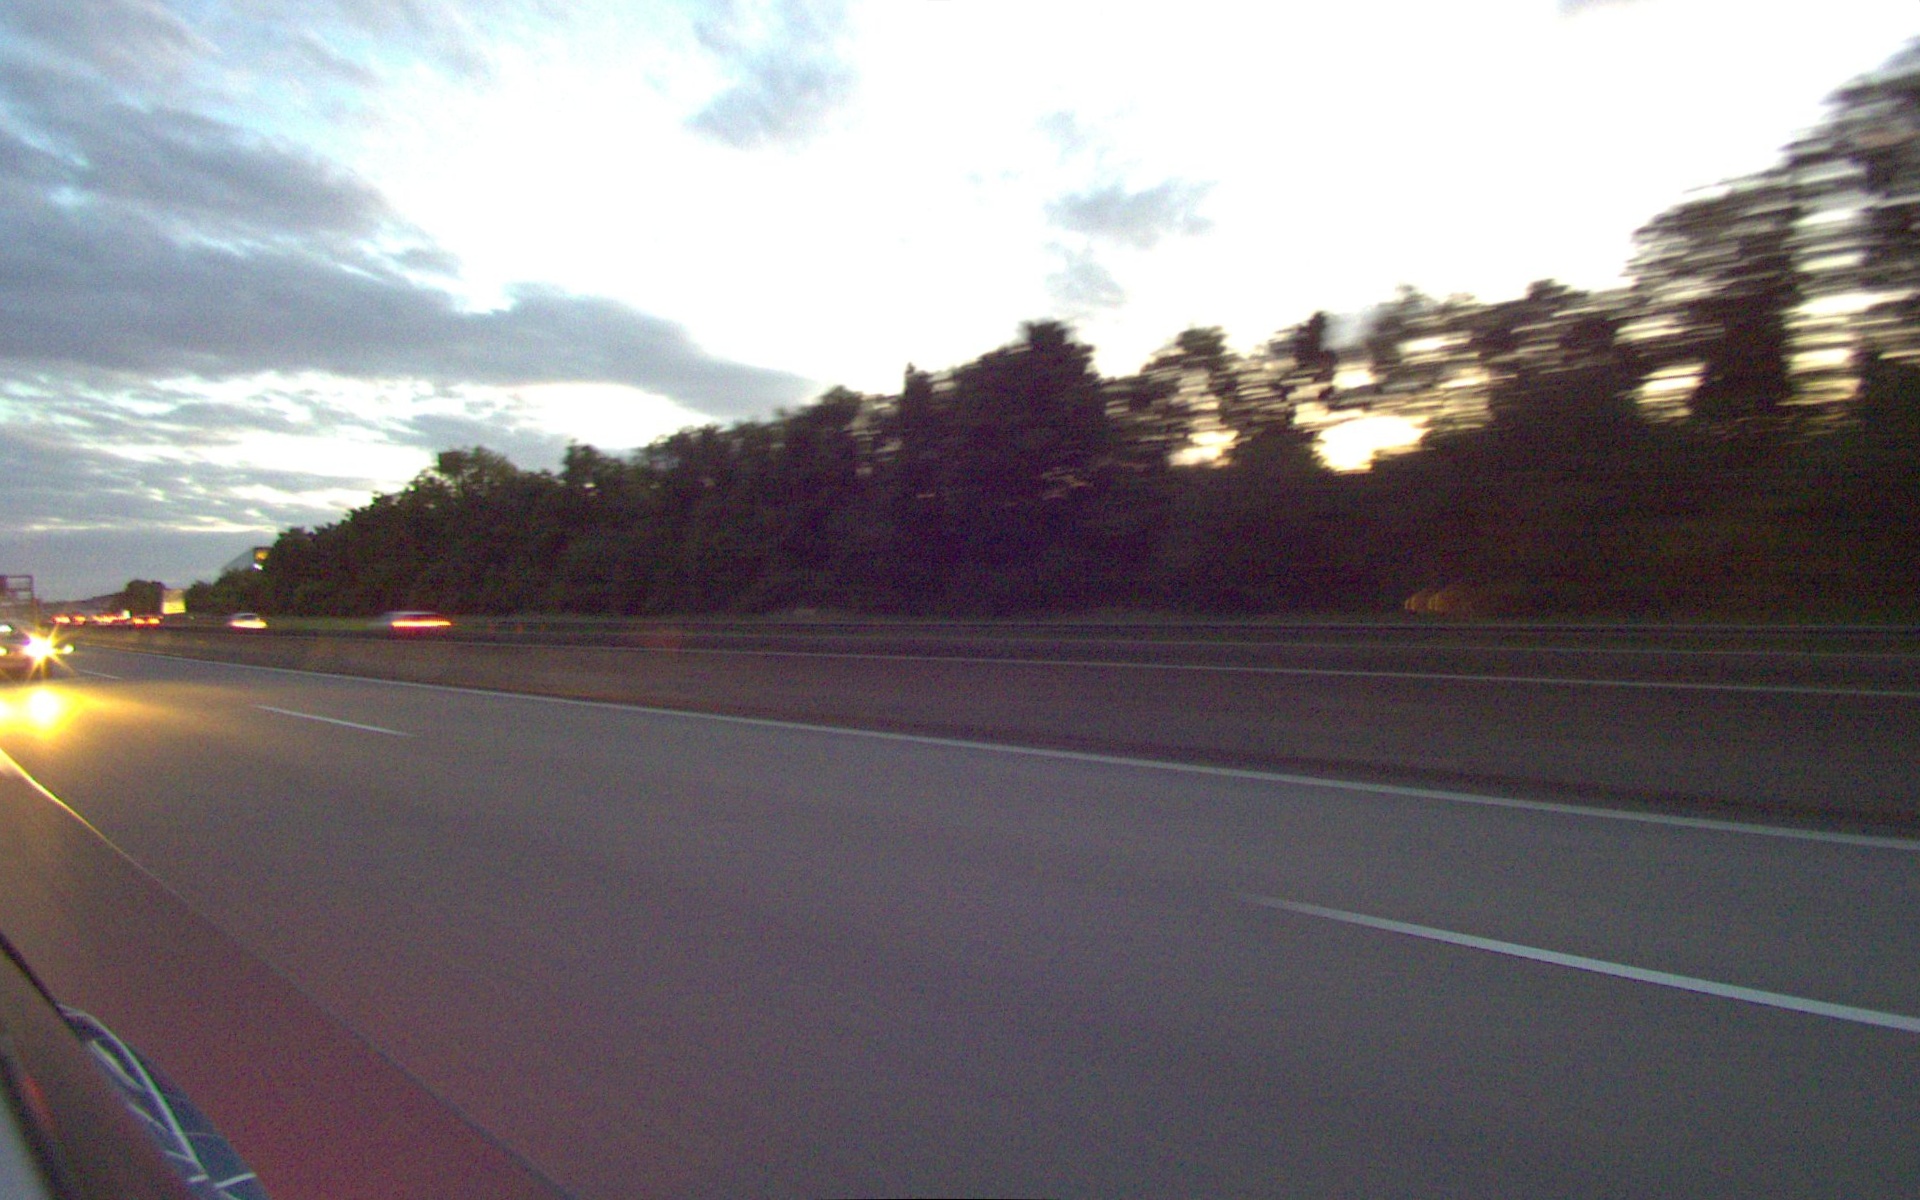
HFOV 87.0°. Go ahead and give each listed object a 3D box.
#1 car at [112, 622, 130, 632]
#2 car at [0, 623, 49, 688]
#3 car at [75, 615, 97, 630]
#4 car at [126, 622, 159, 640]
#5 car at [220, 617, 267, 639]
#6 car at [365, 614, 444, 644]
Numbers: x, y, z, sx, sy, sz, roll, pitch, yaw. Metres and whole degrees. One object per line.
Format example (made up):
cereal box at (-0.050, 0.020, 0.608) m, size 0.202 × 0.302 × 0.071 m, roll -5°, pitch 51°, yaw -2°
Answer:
car at (-149.018, 4.764, 179.684) m, size 4.972 × 1.706 × 1.971 m, roll -1°, pitch 0°, yaw 45°
car at (-24.167, 1.356, 25.323) m, size 4.000 × 1.491 × 1.694 m, roll -1°, pitch 0°, yaw 43°
car at (-147.916, 3.834, 171.317) m, size 7.098 × 2.450 × 2.299 m, roll -1°, pitch 0°, yaw 45°
car at (-85.292, 3.185, 105.551) m, size 4.840 × 1.804 × 1.972 m, roll -1°, pitch 0°, yaw 43°
car at (-50.712, 1.993, 71.609) m, size 3.834 × 1.464 × 1.972 m, roll -1°, pitch 0°, yaw 42°
car at (-27.047, 1.376, 49.229) m, size 4.908 × 1.346 × 1.815 m, roll -1°, pitch 0°, yaw 42°
